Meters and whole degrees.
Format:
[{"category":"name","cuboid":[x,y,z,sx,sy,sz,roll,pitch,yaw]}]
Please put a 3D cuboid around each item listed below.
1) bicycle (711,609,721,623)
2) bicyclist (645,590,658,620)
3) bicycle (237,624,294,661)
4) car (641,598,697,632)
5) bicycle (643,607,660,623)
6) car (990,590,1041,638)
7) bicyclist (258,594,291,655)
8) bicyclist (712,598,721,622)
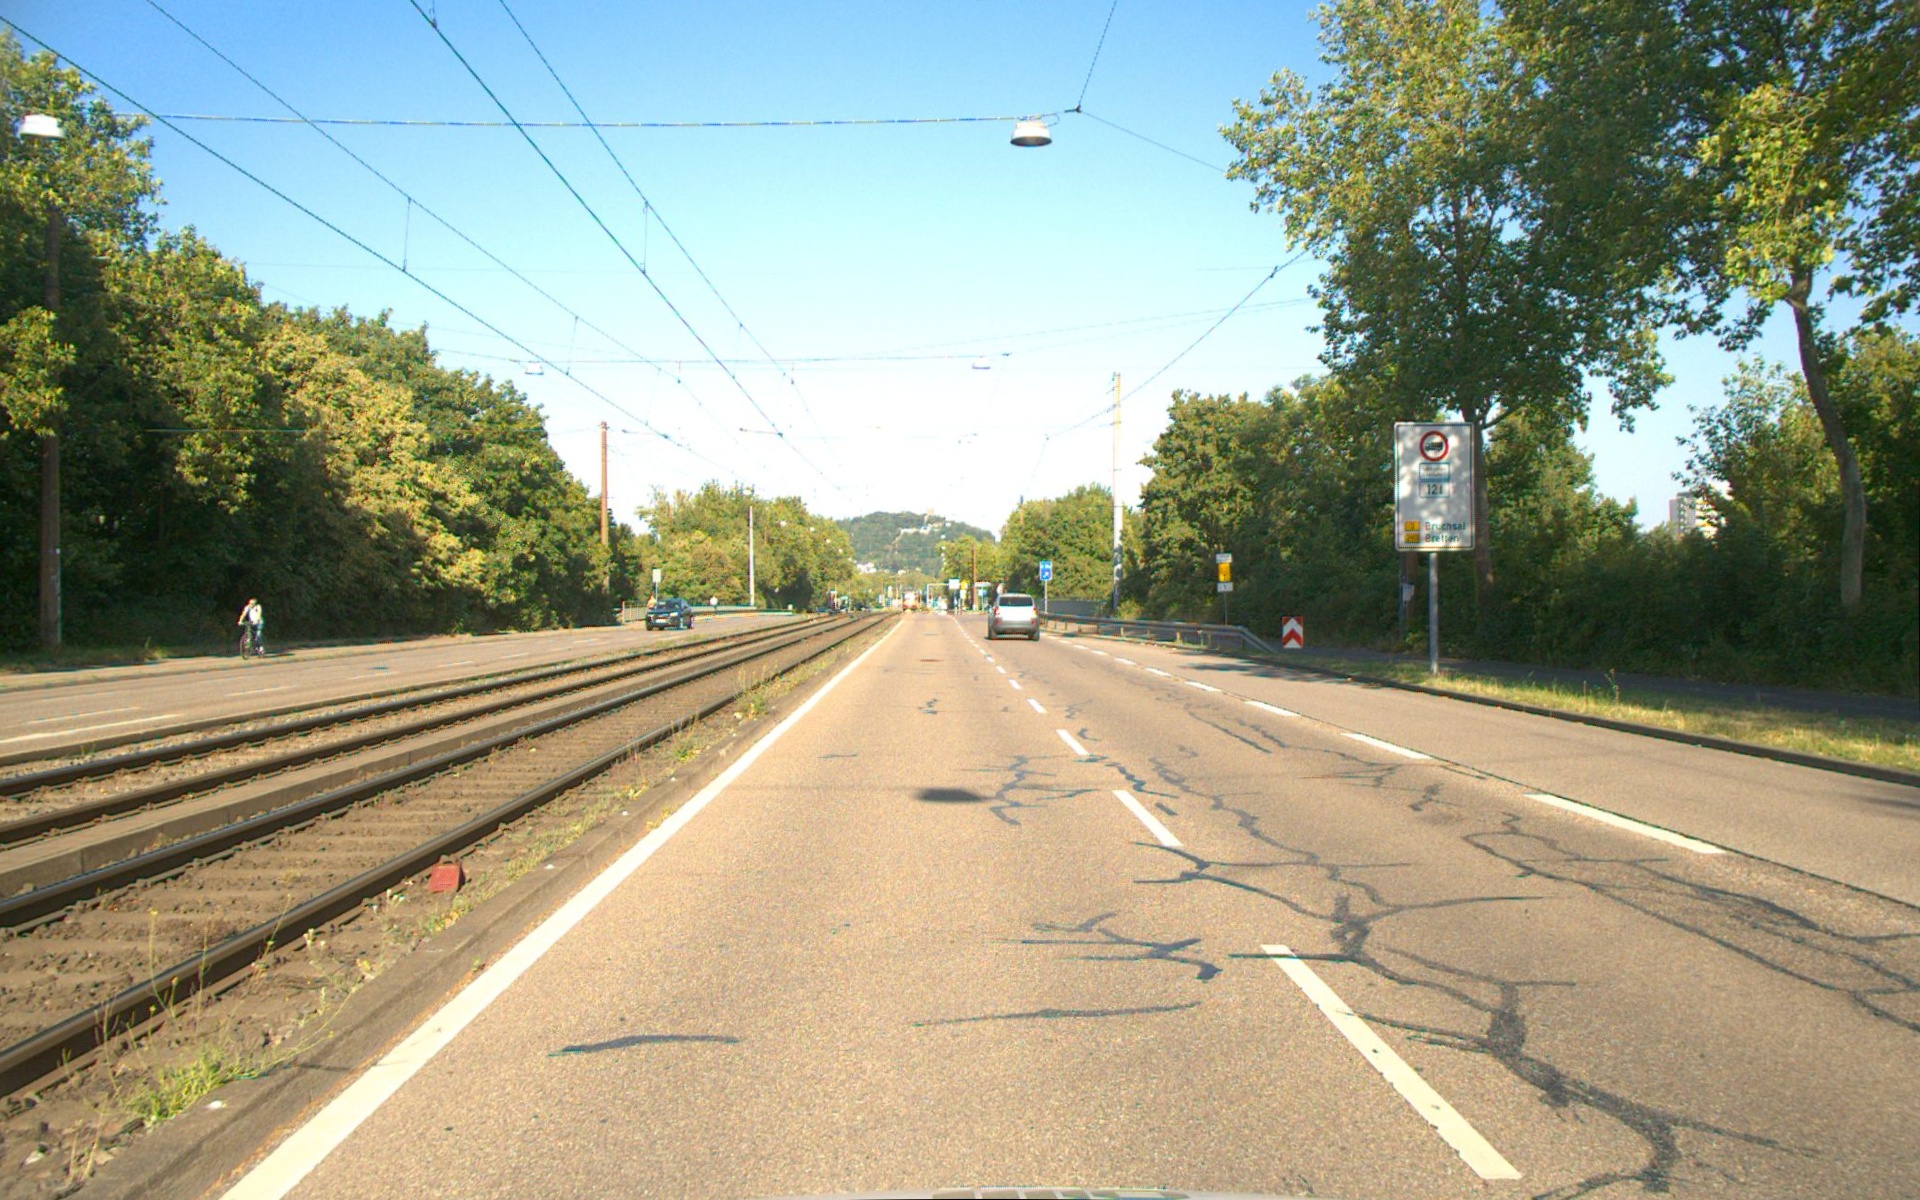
[{"category":"bicycle","cuboid":[-19.486,1.283,132.325,0.529,1.061,1.924,1,0,-1]},{"category":"bicyclist","cuboid":[-17.876,0.288,95.945,0.497,1.716,0.919,1,0,2]},{"category":"bicycle","cuboid":[-19.920,1.217,47.488,0.539,1.003,2.240,1,0,3]},{"category":"car","cuboid":[-15.506,0.769,88.442,1.952,1.715,4.797,-2,0,2]},{"category":"bicycle","cuboid":[-17.896,0.871,96.000,0.497,0.908,2.028,-1,0,2]},{"category":"car","cuboid":[2.067,0.517,62.106,1.849,1.723,4.257,0,0,1]},{"category":"bicyclist","cuboid":[-19.671,0.690,47.457,0.539,1.720,0.820,1,0,3]},{"category":"bicyclist","cuboid":[-19.471,0.834,132.335,0.529,1.895,0.875,1,0,-1]}]
